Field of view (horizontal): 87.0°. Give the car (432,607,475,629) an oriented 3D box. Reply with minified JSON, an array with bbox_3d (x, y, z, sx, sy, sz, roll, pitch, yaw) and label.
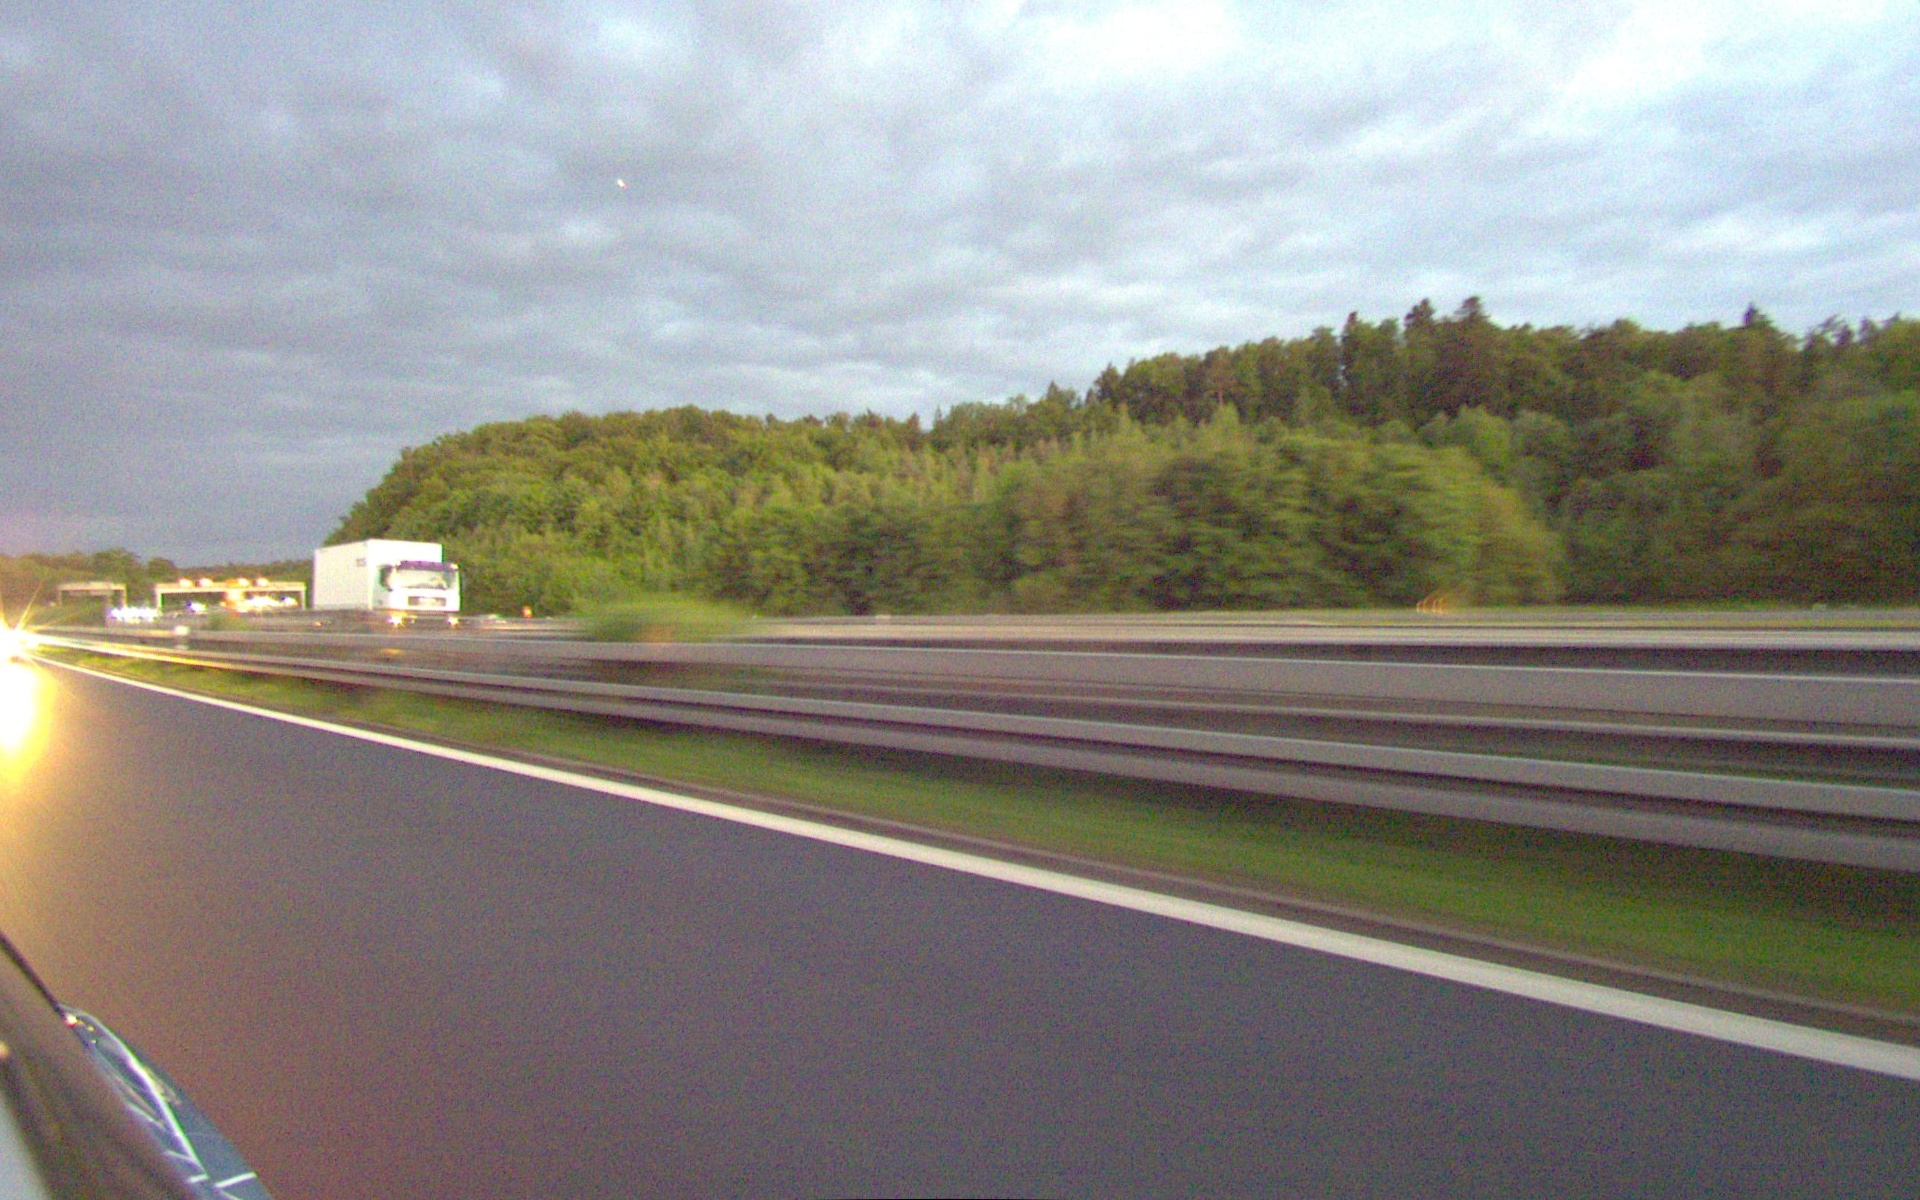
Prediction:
[{"bbox_3d":[-40.821,1.440,81.531,4.002,1.631,1.871,-1,0,45],"label":"car"}]

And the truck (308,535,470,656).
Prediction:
[{"bbox_3d":[-23.234,-0.122,40.867,9.894,4.334,3.004,-1,0,44],"label":"truck"}]

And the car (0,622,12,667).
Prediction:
[{"bbox_3d":[-35.049,1.588,35.972,3.755,1.572,1.647,-1,0,42],"label":"car"}]
